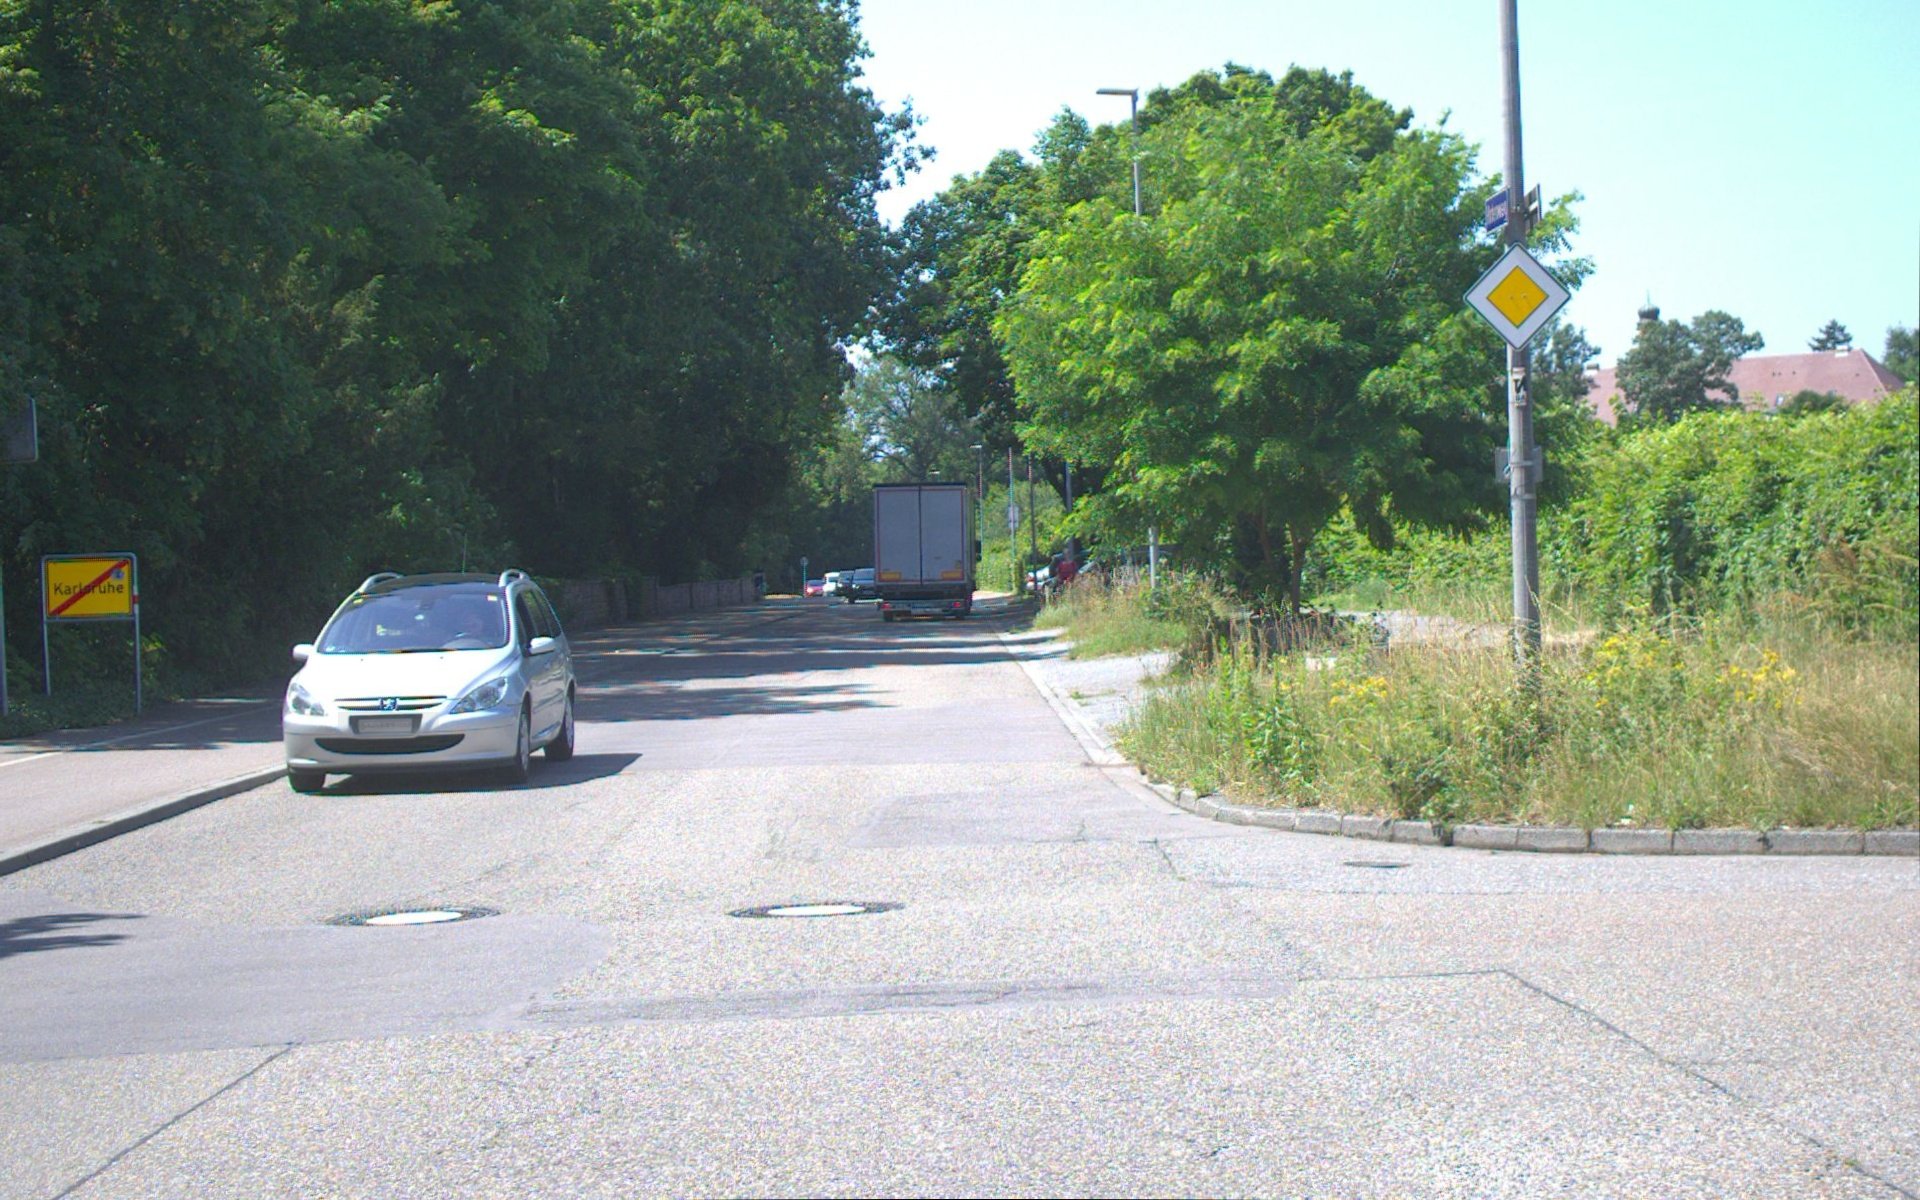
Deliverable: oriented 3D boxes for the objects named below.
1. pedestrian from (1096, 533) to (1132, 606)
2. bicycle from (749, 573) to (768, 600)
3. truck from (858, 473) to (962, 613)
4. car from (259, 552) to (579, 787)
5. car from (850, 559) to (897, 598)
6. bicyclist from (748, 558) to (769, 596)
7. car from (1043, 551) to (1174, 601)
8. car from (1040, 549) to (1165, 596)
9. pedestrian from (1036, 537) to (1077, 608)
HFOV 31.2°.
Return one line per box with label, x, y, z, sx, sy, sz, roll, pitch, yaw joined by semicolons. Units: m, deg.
pedestrian;3.728;-0.740;83.498;0.739;1.732;0.886;-2;1;-2
bicycle;-9.187;-0.628;156.808;0.718;1.155;2.230;-2;1;0
truck;-1.341;-1.640;99.206;2.733;3.733;13.246;-1;1;0
car;-4.063;0.465;26.458;1.791;1.567;4.272;-2;1;-1
car;-4.035;-1.005;160.301;1.993;1.678;4.262;-2;1;0
bicyclist;-9.208;-1.042;156.792;0.832;1.710;0.957;-2;1;0
car;4.834;-0.800;112.344;4.196;1.440;1.739;-2;1;1
car;4.902;-0.941;118.743;4.196;1.440;1.739;-2;1;1
pedestrian;2.316;-0.669;82.537;0.863;1.671;0.886;-2;1;-2
